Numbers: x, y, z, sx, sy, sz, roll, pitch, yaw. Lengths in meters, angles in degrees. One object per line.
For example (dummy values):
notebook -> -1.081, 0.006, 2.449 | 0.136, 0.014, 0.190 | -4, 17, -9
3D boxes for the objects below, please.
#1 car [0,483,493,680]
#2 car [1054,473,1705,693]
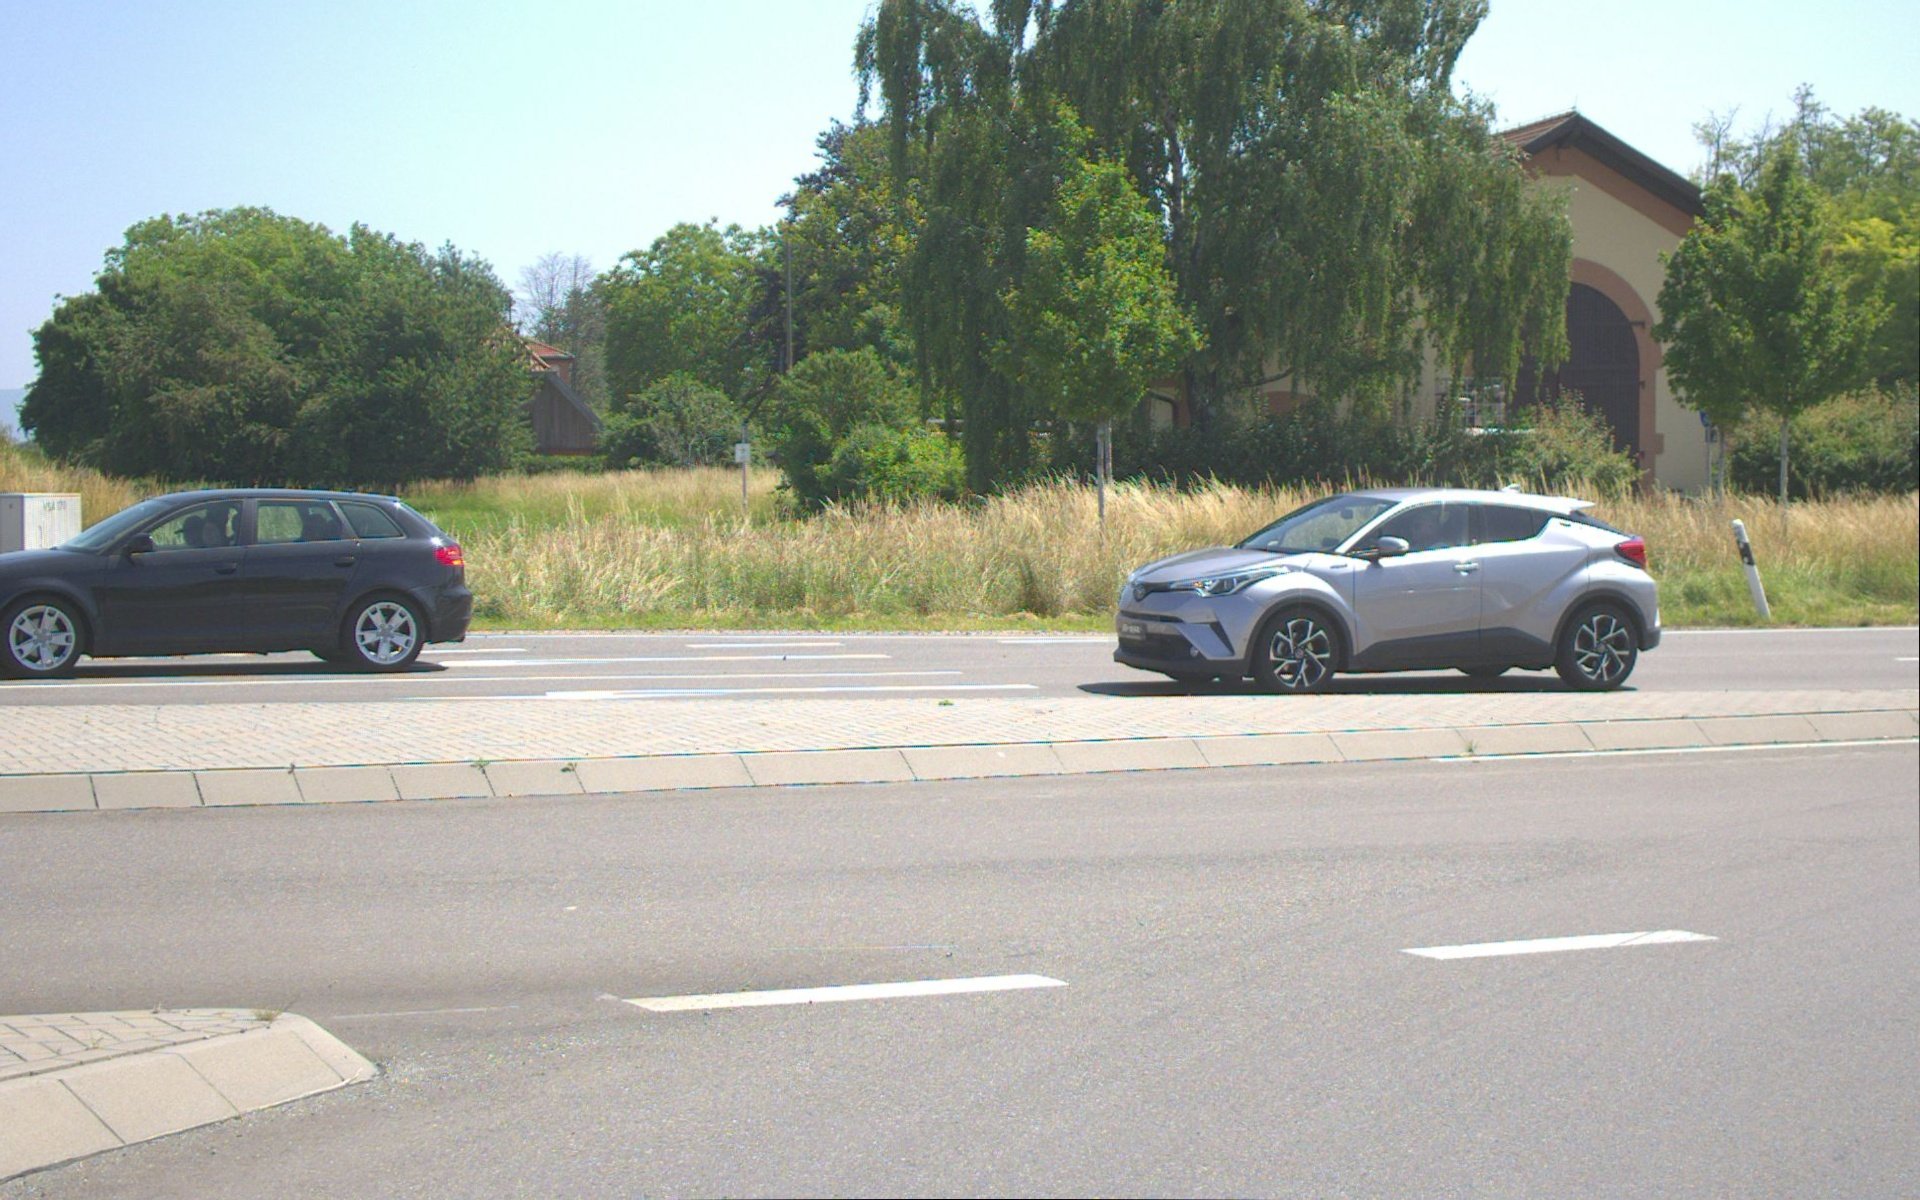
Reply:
car -> -5.899, -0.176, 26.438 | 4.259, 1.364, 1.777 | -1, 3, -22
car -> 3.187, -0.138, 26.154 | 4.535, 1.538, 1.872 | 0, 3, -22
